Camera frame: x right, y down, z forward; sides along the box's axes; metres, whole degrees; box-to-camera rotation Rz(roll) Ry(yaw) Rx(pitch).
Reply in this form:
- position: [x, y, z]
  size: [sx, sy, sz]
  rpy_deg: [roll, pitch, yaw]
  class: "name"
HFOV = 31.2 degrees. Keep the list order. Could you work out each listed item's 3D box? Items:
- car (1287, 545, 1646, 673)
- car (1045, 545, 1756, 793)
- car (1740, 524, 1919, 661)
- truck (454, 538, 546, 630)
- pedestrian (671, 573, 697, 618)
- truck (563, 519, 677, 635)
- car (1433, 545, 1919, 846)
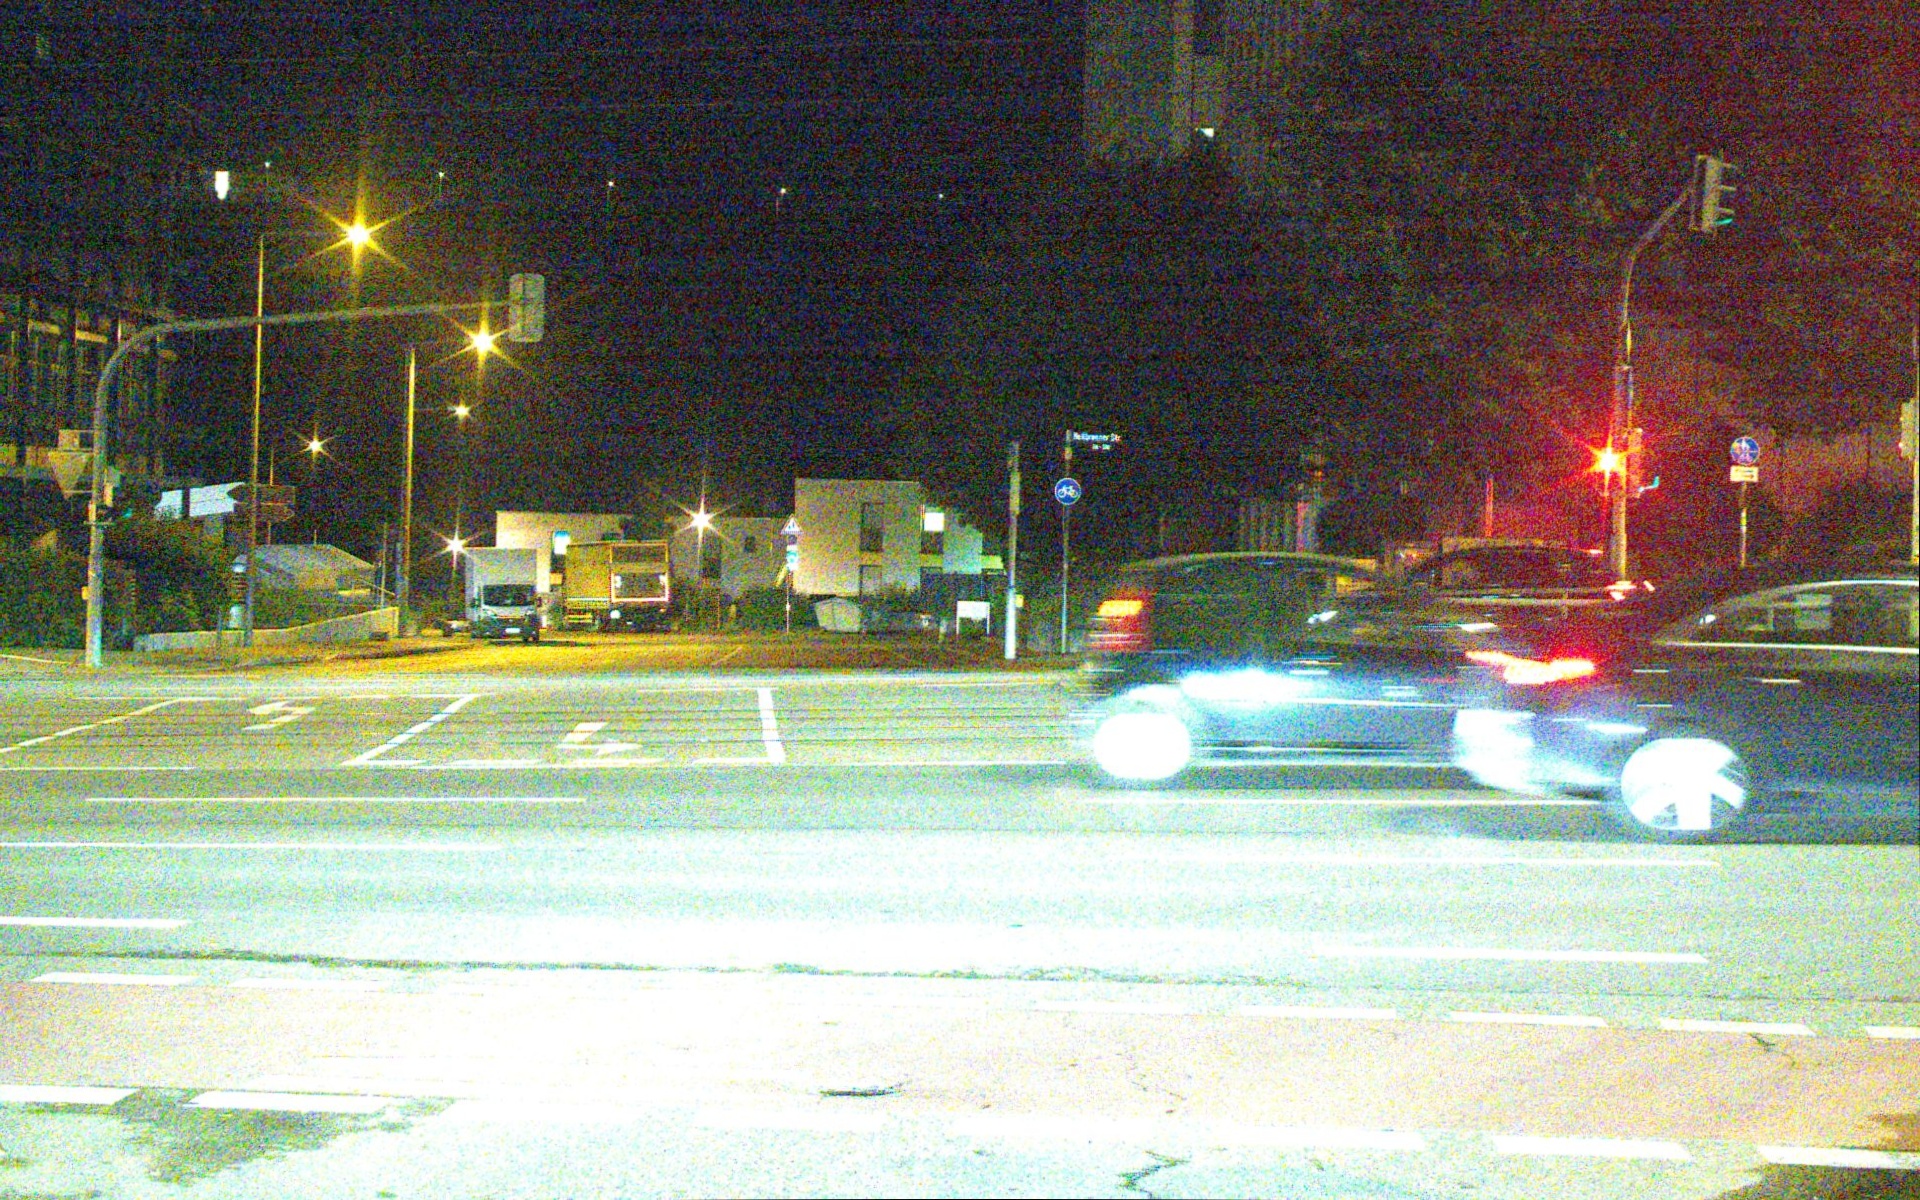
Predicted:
- position: [5.827, 0.097, 39.834]
  size: [3.871, 1.400, 1.769]
  rpy_deg: [-1, 0, 0]
  class: "car"
- position: [2.736, 0.393, 21.607]
  size: [4.250, 1.415, 1.744]
  rpy_deg: [0, 3, 7]
  class: "car"
- position: [10.732, -0.104, 36.721]
  size: [4.427, 1.415, 1.851]
  rpy_deg: [-1, 0, 3]
  class: "car"
- position: [-16.056, -0.548, 119.685]
  size: [2.417, 3.078, 6.439]
  rpy_deg: [1, 0, -14]
  class: "truck"
- position: [-11.854, -0.175, 147.581]
  size: [0.849, 1.905, 1.007]
  rpy_deg: [1, 0, -18]
  class: "pedestrian"
- position: [-14.779, -0.987, 148.850]
  size: [3.359, 4.826, 7.908]
  rpy_deg: [1, 0, -17]
  class: "truck"
- position: [4.928, 0.464, 18.477]
  size: [4.572, 1.415, 1.745]
  rpy_deg: [-1, 4, 3]
  class: "car"
